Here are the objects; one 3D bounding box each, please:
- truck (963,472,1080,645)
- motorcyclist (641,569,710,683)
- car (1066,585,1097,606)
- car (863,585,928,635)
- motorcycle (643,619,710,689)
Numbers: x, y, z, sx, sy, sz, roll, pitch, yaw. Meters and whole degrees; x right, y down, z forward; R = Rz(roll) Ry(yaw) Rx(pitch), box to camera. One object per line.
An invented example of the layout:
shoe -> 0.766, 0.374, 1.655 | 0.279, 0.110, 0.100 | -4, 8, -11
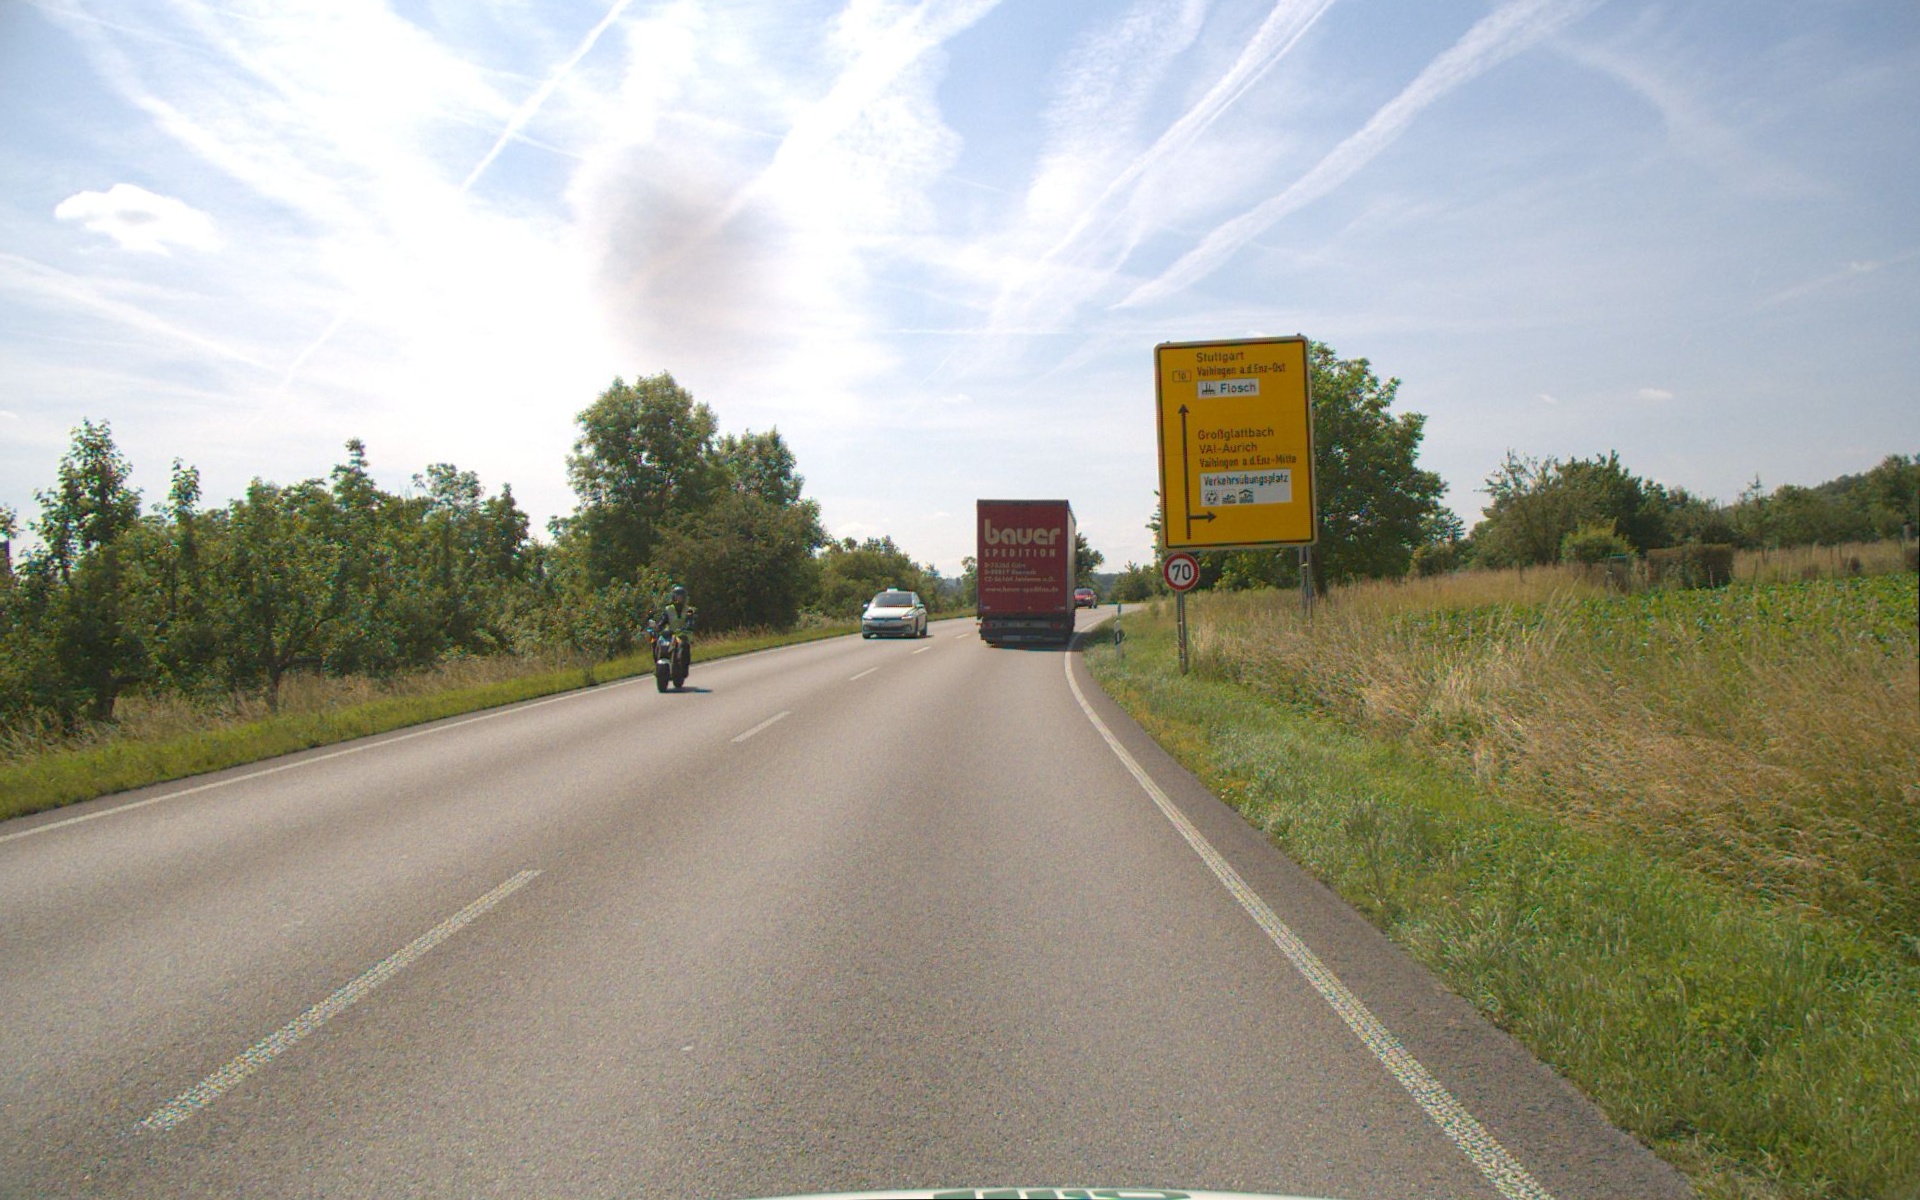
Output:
truck -> 1.776, -1.094, 50.423 | 3.048, 4.585, 12.169 | 1, 0, 1
motorcyclist -> -4.474, 0.403, 26.049 | 0.900, 1.748, 0.962 | -1, 0, -1
car -> 8.982, -0.339, 122.167 | 1.781, 1.422, 4.187 | -1, 1, 11
car -> -2.071, 0.282, 53.812 | 1.753, 1.548, 4.162 | 0, 0, 2
motorcycle -> -4.458, 0.832, 26.138 | 0.742, 1.011, 2.279 | 0, 0, -2
